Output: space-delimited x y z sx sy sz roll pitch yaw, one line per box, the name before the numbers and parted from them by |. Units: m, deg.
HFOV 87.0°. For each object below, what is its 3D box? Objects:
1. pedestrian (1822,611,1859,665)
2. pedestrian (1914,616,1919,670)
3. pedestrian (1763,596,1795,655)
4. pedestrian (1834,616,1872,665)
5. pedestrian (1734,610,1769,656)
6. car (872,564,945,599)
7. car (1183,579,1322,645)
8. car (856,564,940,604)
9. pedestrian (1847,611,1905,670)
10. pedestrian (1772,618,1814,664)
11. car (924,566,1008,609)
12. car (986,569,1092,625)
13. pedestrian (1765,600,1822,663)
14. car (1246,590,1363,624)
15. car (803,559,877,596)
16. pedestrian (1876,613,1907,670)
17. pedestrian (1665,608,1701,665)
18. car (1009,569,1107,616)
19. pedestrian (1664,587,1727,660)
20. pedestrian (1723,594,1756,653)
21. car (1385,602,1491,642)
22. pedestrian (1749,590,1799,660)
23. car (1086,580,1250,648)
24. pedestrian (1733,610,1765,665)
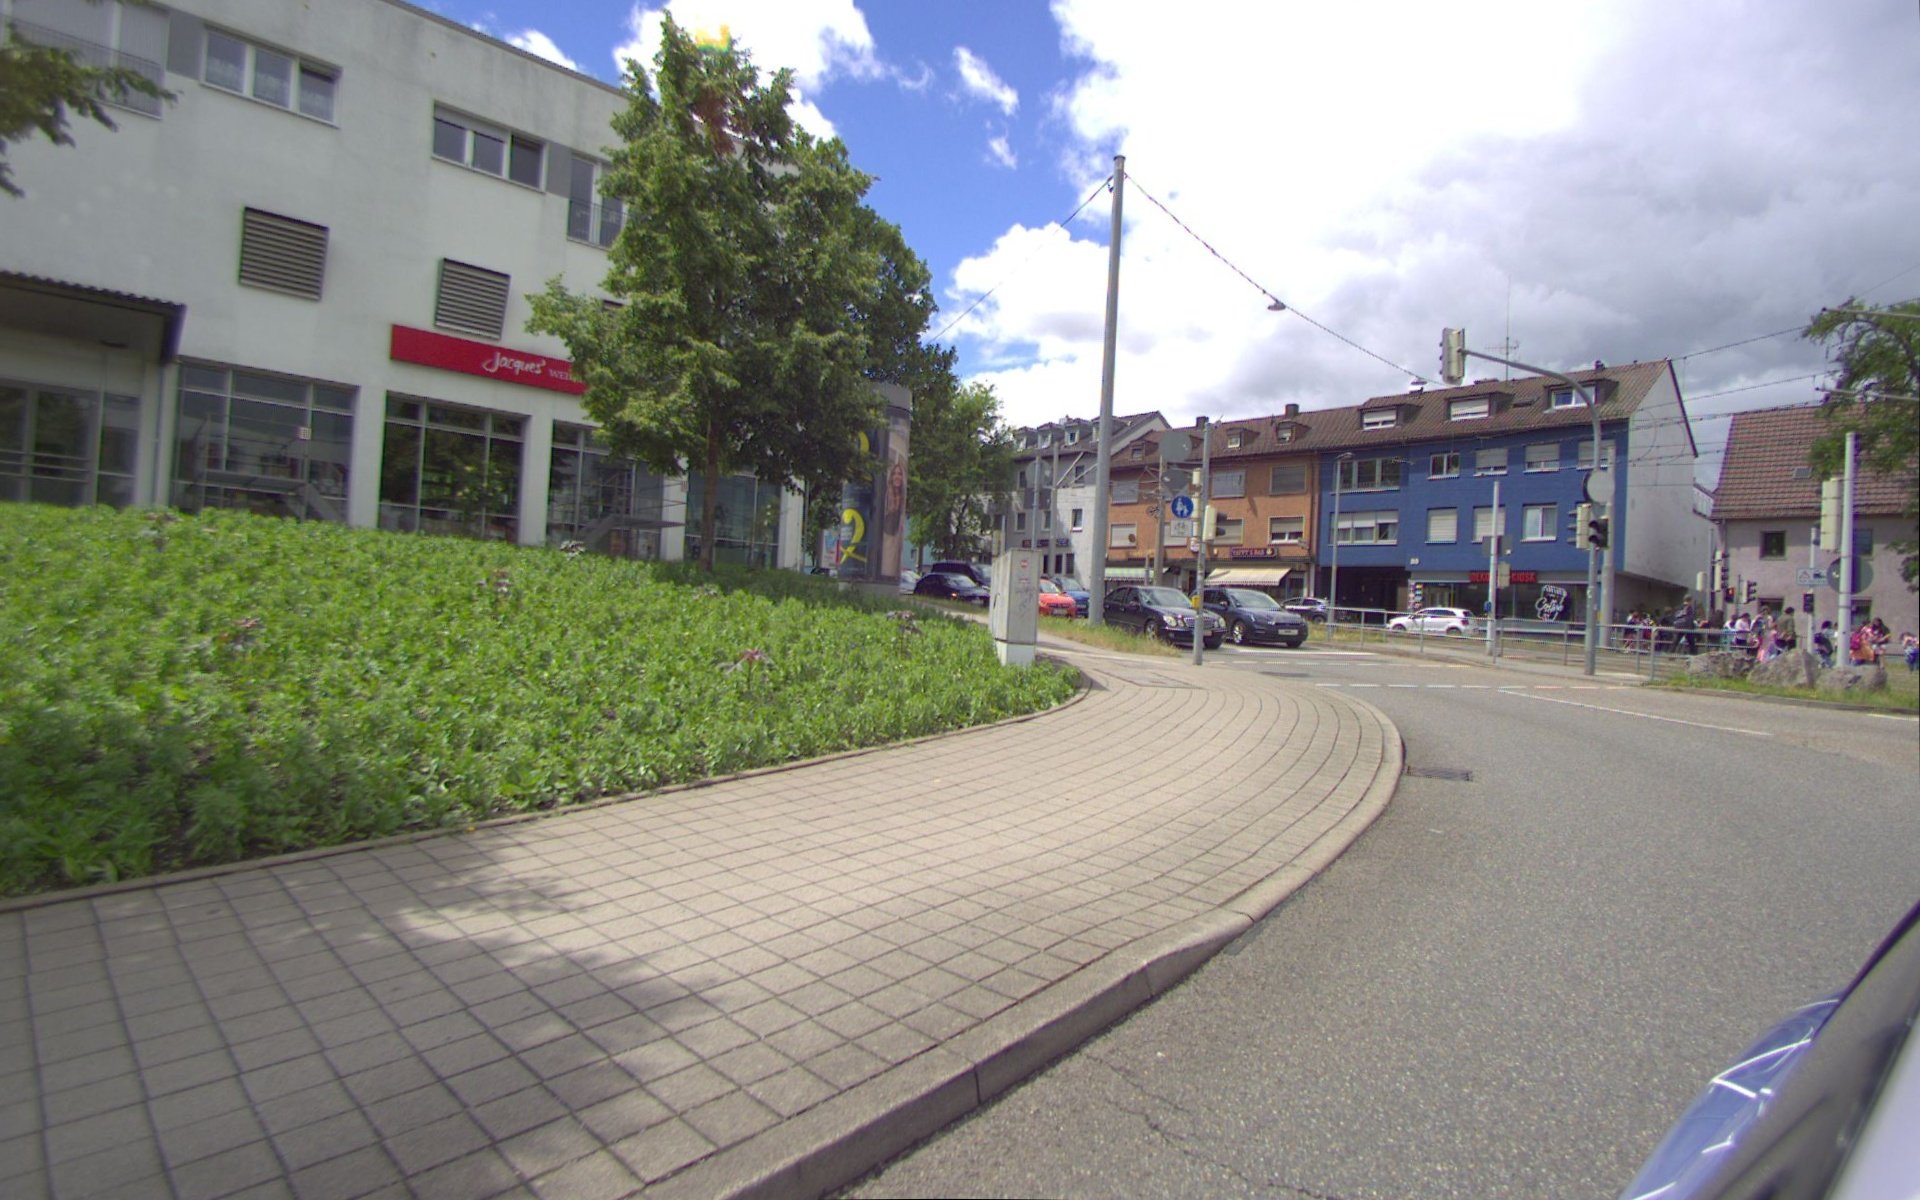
pedestrian | 25.118 1.073 28.859 0.662 1.511 0.588 2 0 -30
pedestrian | 26.895 1.201 27.965 0.763 1.488 0.542 1 -1 -28
pedestrian | 25.161 0.774 31.091 0.577 1.772 0.674 2 0 -42
pedestrian | 26.599 1.193 30.143 0.661 1.418 0.588 2 0 -26
pedestrian | 25.044 1.044 32.022 0.623 1.393 0.675 2 0 -34
car | -2.592 -0.909 49.946 1.975 1.574 4.005 2 0 -30
car | 7.614 0.260 26.801 1.703 1.455 4.104 1 3 -13
car | -2.811 -0.736 44.883 1.961 1.603 4.002 2 1 -33
pedestrian | 23.993 1.047 26.517 0.843 1.500 0.737 2 0 19
pedestrian | 22.395 1.097 27.214 0.666 1.182 0.584 2 0 19
car | 0.174 -0.488 38.852 1.863 1.482 4.009 2 0 -21
car | 2.509 -0.079 33.191 1.958 1.663 4.008 3 -1 -19
pedestrian | 22.894 0.850 27.811 0.879 1.672 0.822 2 0 16
car | 16.043 0.303 47.275 1.886 1.388 4.846 4 -2 -42
car | -5.894 -1.123 49.261 1.961 1.639 4.003 2 1 -33
pedestrian | 25.878 1.141 28.111 0.585 1.546 0.665 2 0 43
pedestrian | 23.013 1.157 32.233 0.743 1.772 0.584 2 0 19
car | 3.716 -0.309 39.075 1.887 1.659 4.007 2 0 -26
pedestrian | 19.701 0.613 27.131 0.947 1.864 0.828 4 0 -11
pedestrian | 24.144 0.720 31.337 0.577 1.772 0.674 2 0 -42
car | 21.713 0.966 46.110 1.682 1.551 3.994 4 -1 -41
pedestrian | 21.278 0.647 26.465 0.682 1.772 0.749 2 0 11
car | 4.991 0.282 24.926 2.009 1.483 4.334 2 1 -19
pedestrian | 23.571 1.126 30.253 0.670 1.586 0.580 0 -8 33
